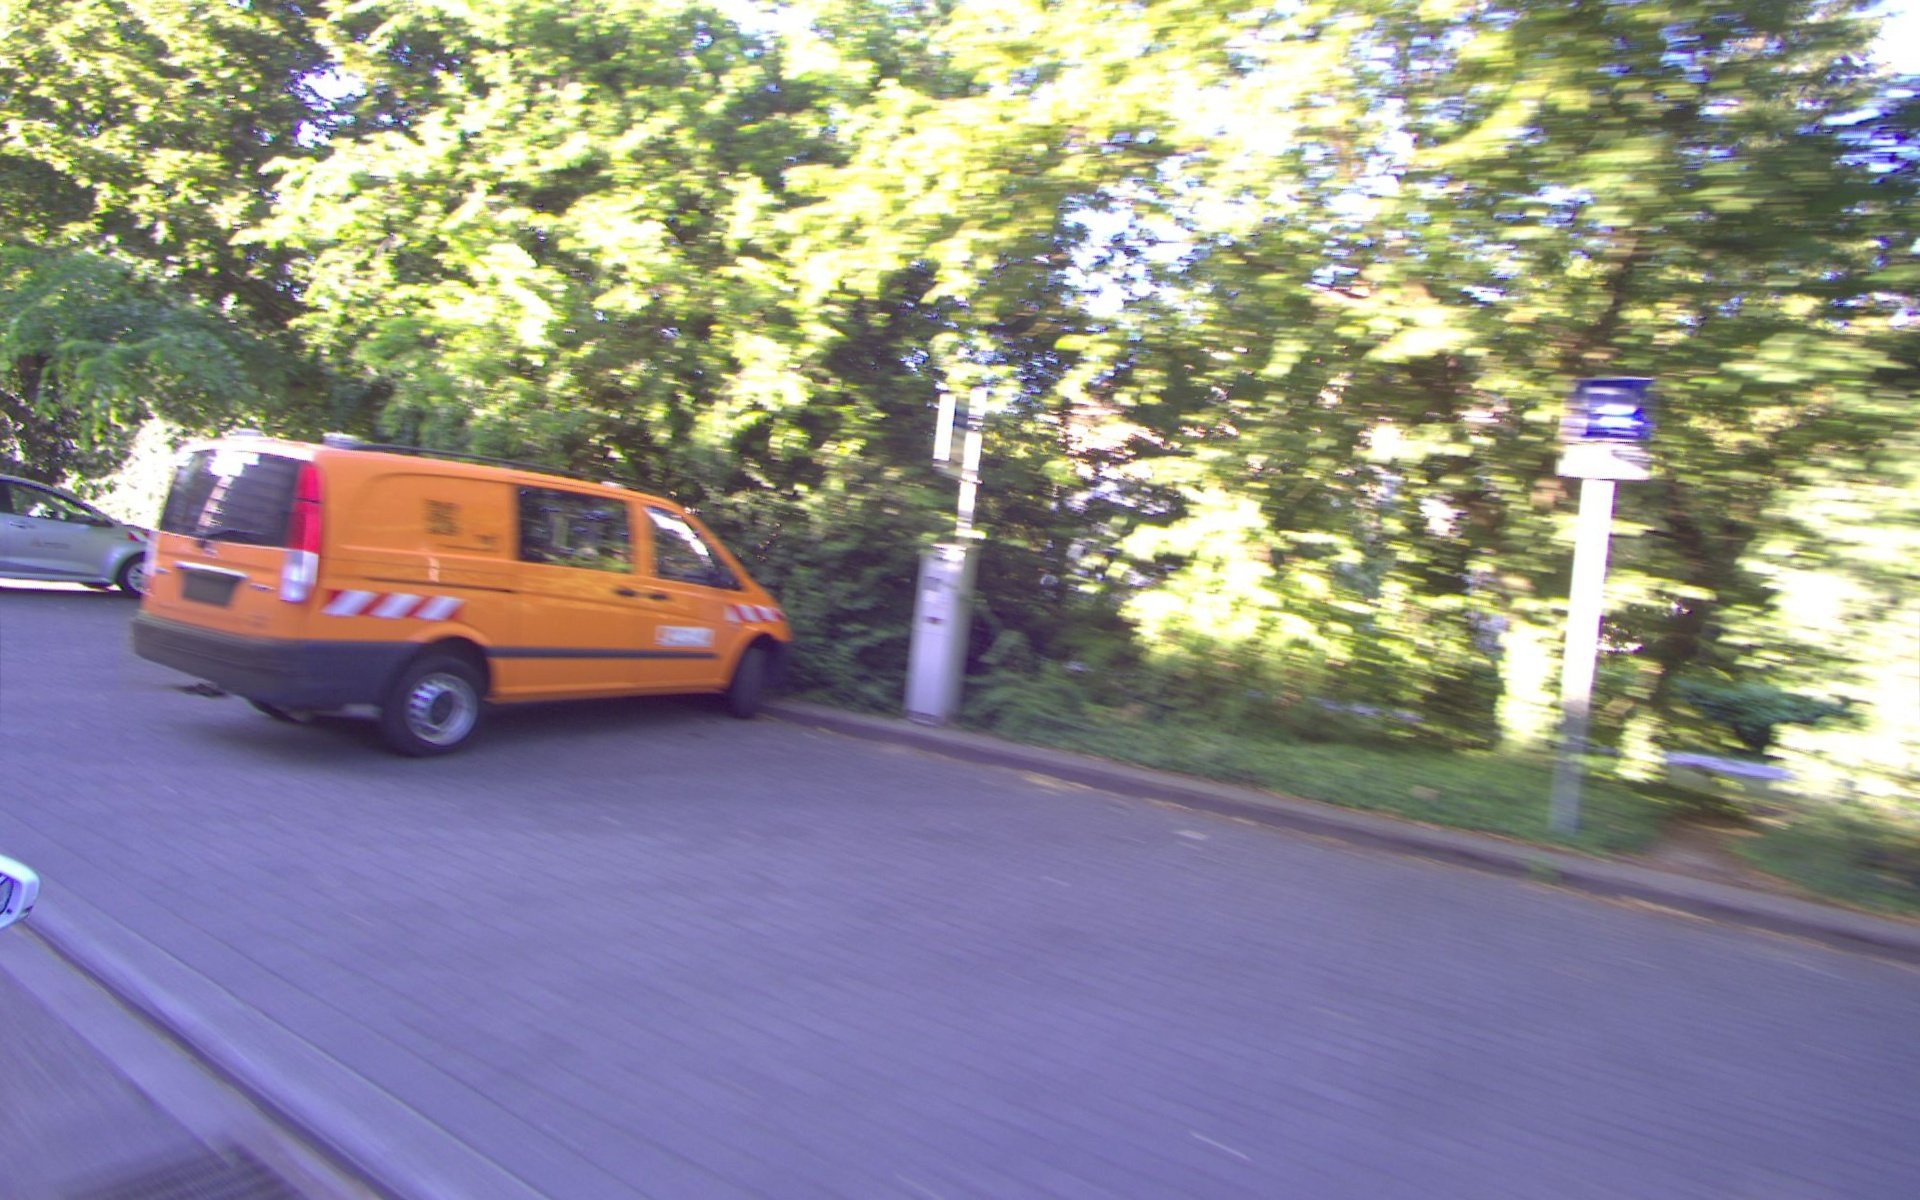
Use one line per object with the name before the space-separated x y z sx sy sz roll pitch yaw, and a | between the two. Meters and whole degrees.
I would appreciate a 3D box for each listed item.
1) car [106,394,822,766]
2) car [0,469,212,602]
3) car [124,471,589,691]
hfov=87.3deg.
car | -3.430 -0.134 8.113 2.044 2.024 4.801 7 2 27
car | -12.449 -0.905 13.065 1.705 1.567 3.990 7 2 29
car | -5.594 -0.142 9.694 1.651 1.653 3.397 7 2 31
